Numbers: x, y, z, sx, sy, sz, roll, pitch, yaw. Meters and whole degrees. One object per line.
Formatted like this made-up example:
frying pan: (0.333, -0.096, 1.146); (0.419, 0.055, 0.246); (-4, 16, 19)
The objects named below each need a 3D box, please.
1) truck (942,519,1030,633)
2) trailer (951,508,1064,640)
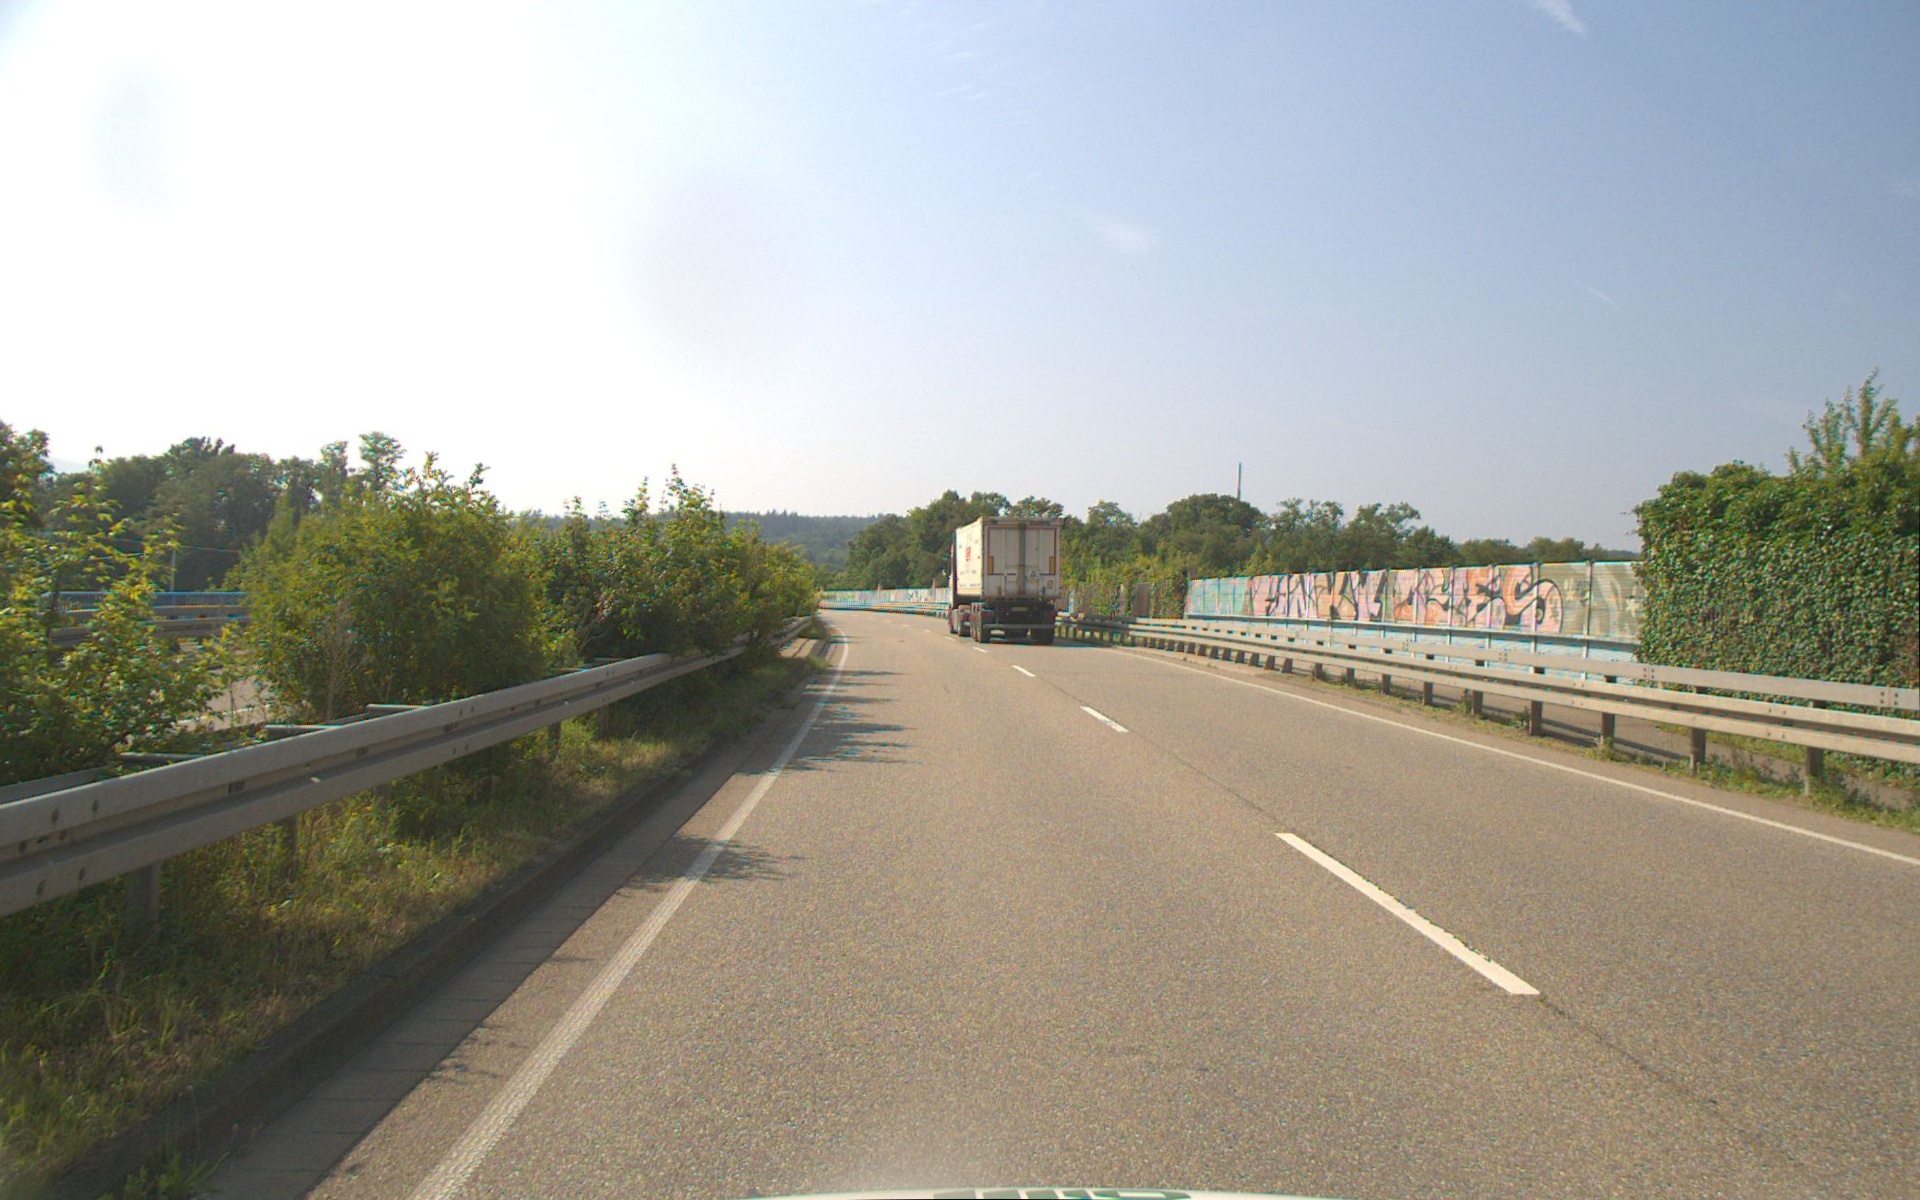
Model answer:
truck: (0.871, -0.863, 60.817); (2.607, 3.964, 5.642); (1, 0, -5)
trailer: (1.419, -0.810, 55.021); (2.627, 3.975, 9.662); (1, 0, -5)
